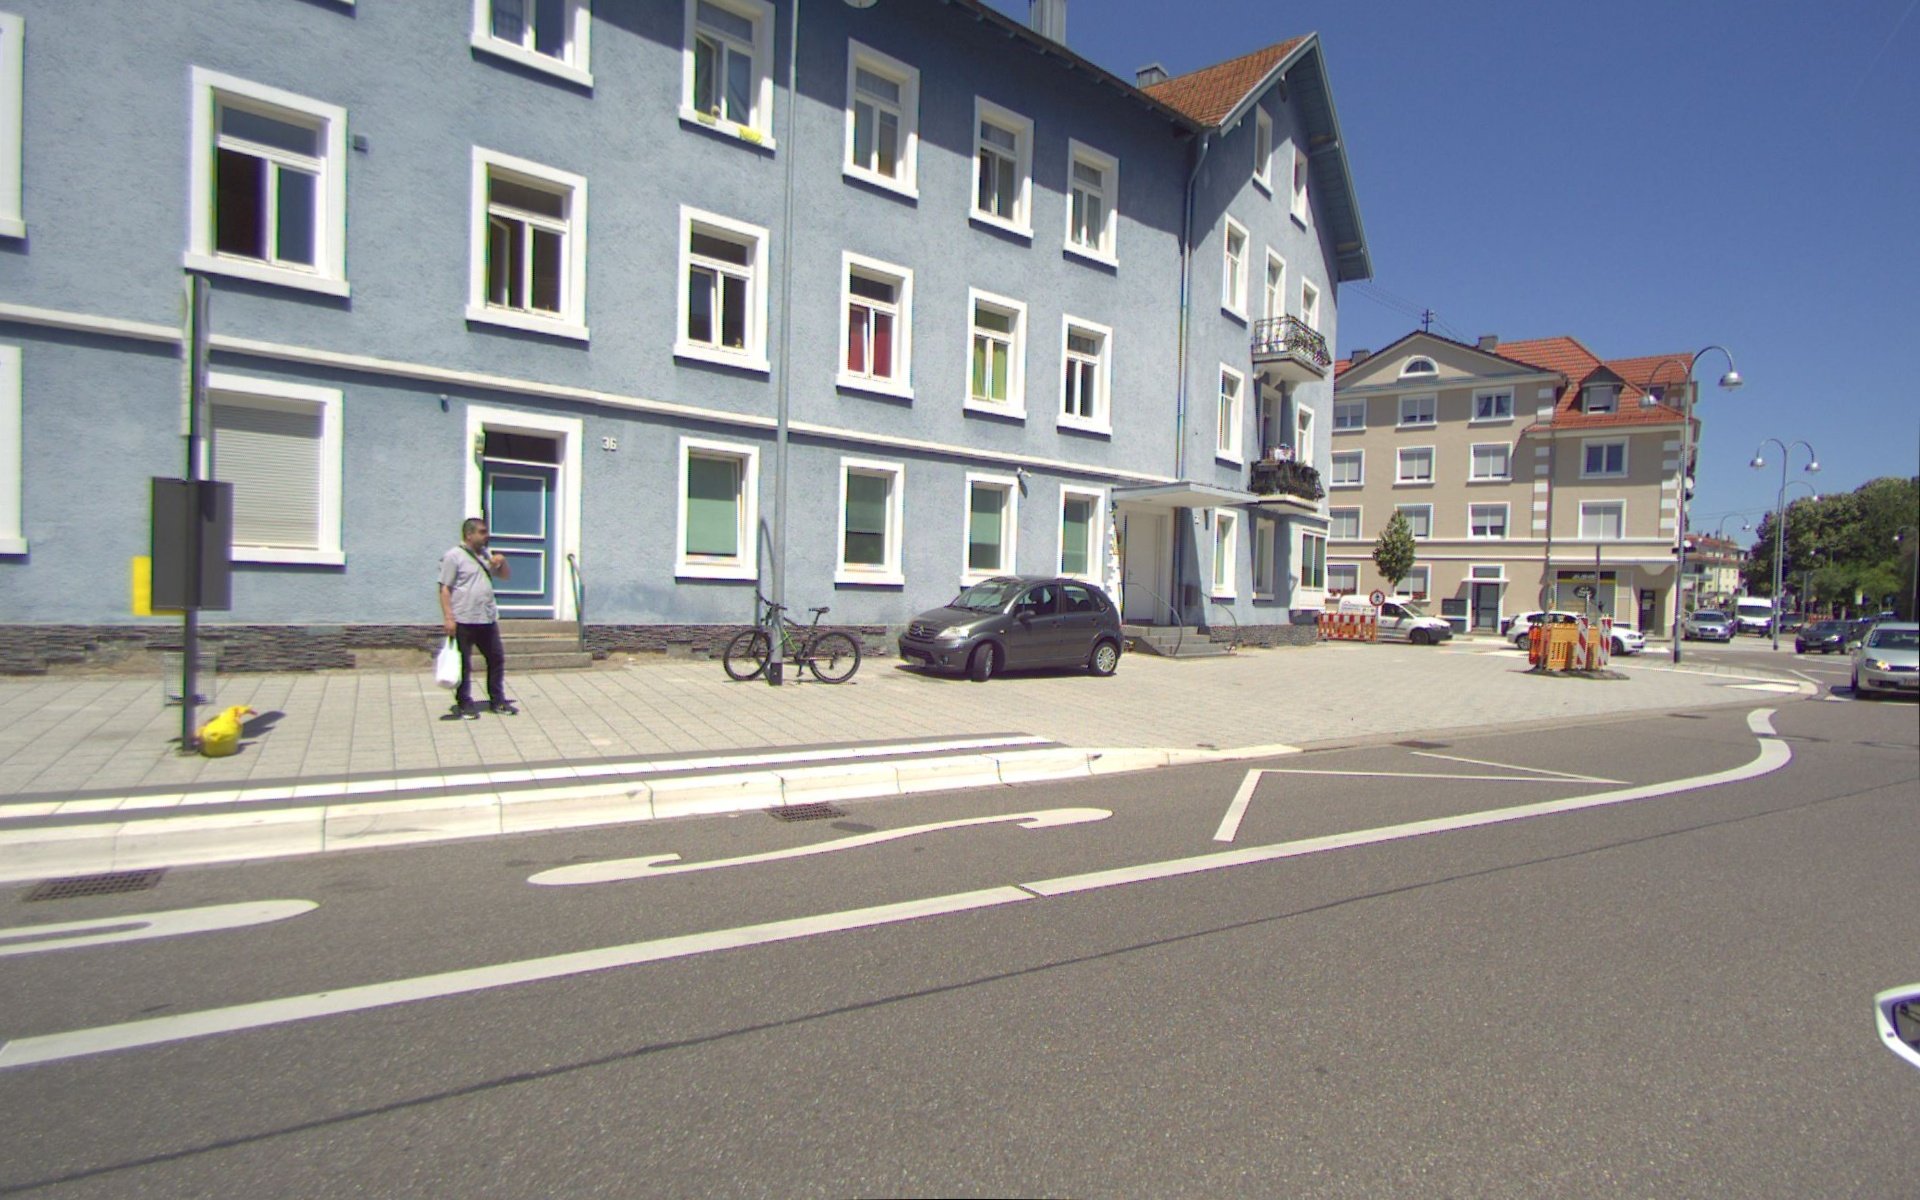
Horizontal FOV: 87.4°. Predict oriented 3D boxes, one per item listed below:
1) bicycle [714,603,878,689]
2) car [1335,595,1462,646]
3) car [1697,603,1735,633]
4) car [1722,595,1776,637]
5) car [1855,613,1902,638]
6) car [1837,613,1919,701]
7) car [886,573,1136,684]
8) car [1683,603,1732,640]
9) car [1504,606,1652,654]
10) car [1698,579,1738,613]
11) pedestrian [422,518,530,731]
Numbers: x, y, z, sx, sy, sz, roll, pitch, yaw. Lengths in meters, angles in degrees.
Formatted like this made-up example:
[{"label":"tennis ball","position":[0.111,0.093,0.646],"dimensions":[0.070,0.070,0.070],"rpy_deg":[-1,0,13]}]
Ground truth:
[{"label":"bicycle","position":[-2.070,0.591,12.761],"dimensions":[1.947,0.990,0.494],"rpy_deg":[2,4,-27]},{"label":"car","position":[17.135,0.770,39.335],"dimensions":[4.181,1.801,1.772],"rpy_deg":[2,1,42]},{"label":"car","position":[44.525,1.042,59.229],"dimensions":[1.577,1.638,4.077],"rpy_deg":[4,2,36]},{"label":"car","position":[51.885,1.044,66.174],"dimensions":[2.115,2.566,6.220],"rpy_deg":[4,2,33]},{"label":"car","position":[71.643,1.966,78.423],"dimensions":[1.786,1.818,3.992],"rpy_deg":[3,1,30]},{"label":"car","position":[19.059,1.089,20.287],"dimensions":[1.818,1.549,4.371],"rpy_deg":[-7,-5,40]},{"label":"car","position":[0.863,0.459,15.736],"dimensions":[3.741,1.554,1.566],"rpy_deg":[3,0,-37]},{"label":"car","position":[36.875,1.043,49.625],"dimensions":[1.752,1.708,4.678],"rpy_deg":[2,0,35]},{"label":"car","position":[21.499,1.073,35.067],"dimensions":[1.774,1.571,4.077],"rpy_deg":[1,-3,-42]},{"label":"car","position":[60.779,-0.277,80.607],"dimensions":[2.115,2.567,4.841],"rpy_deg":[4,2,33]},{"label":"pedestrian","position":[-4.516,0.190,9.372],"dimensions":[0.765,1.873,0.749],"rpy_deg":[-1,5,-38]}]
